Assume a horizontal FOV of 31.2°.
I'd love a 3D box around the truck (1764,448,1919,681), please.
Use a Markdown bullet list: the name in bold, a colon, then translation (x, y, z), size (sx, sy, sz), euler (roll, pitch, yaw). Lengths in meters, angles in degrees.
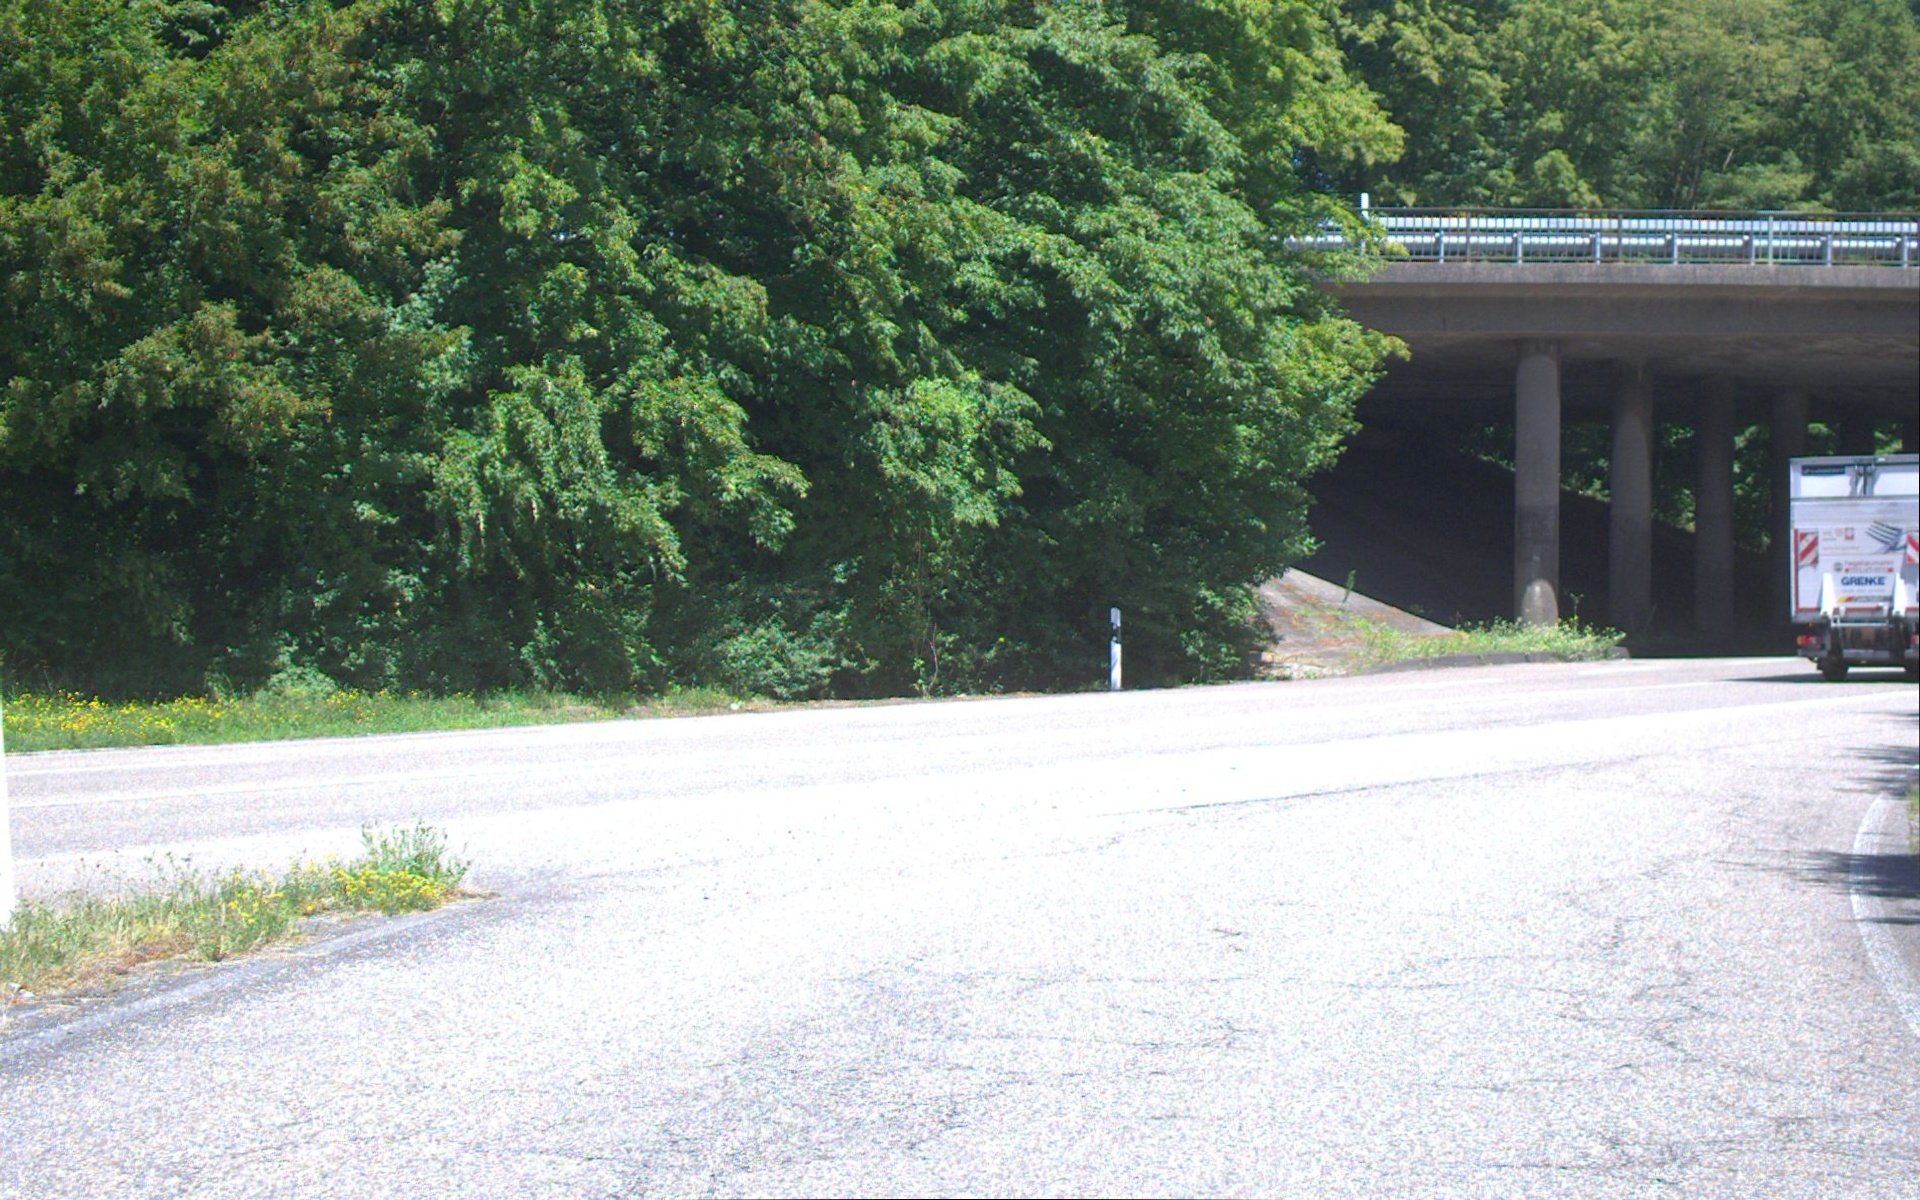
- **truck**: translation (13.069, -0.468, 46.783), size (2.245, 2.974, 5.883), euler (0, 0, 33)
